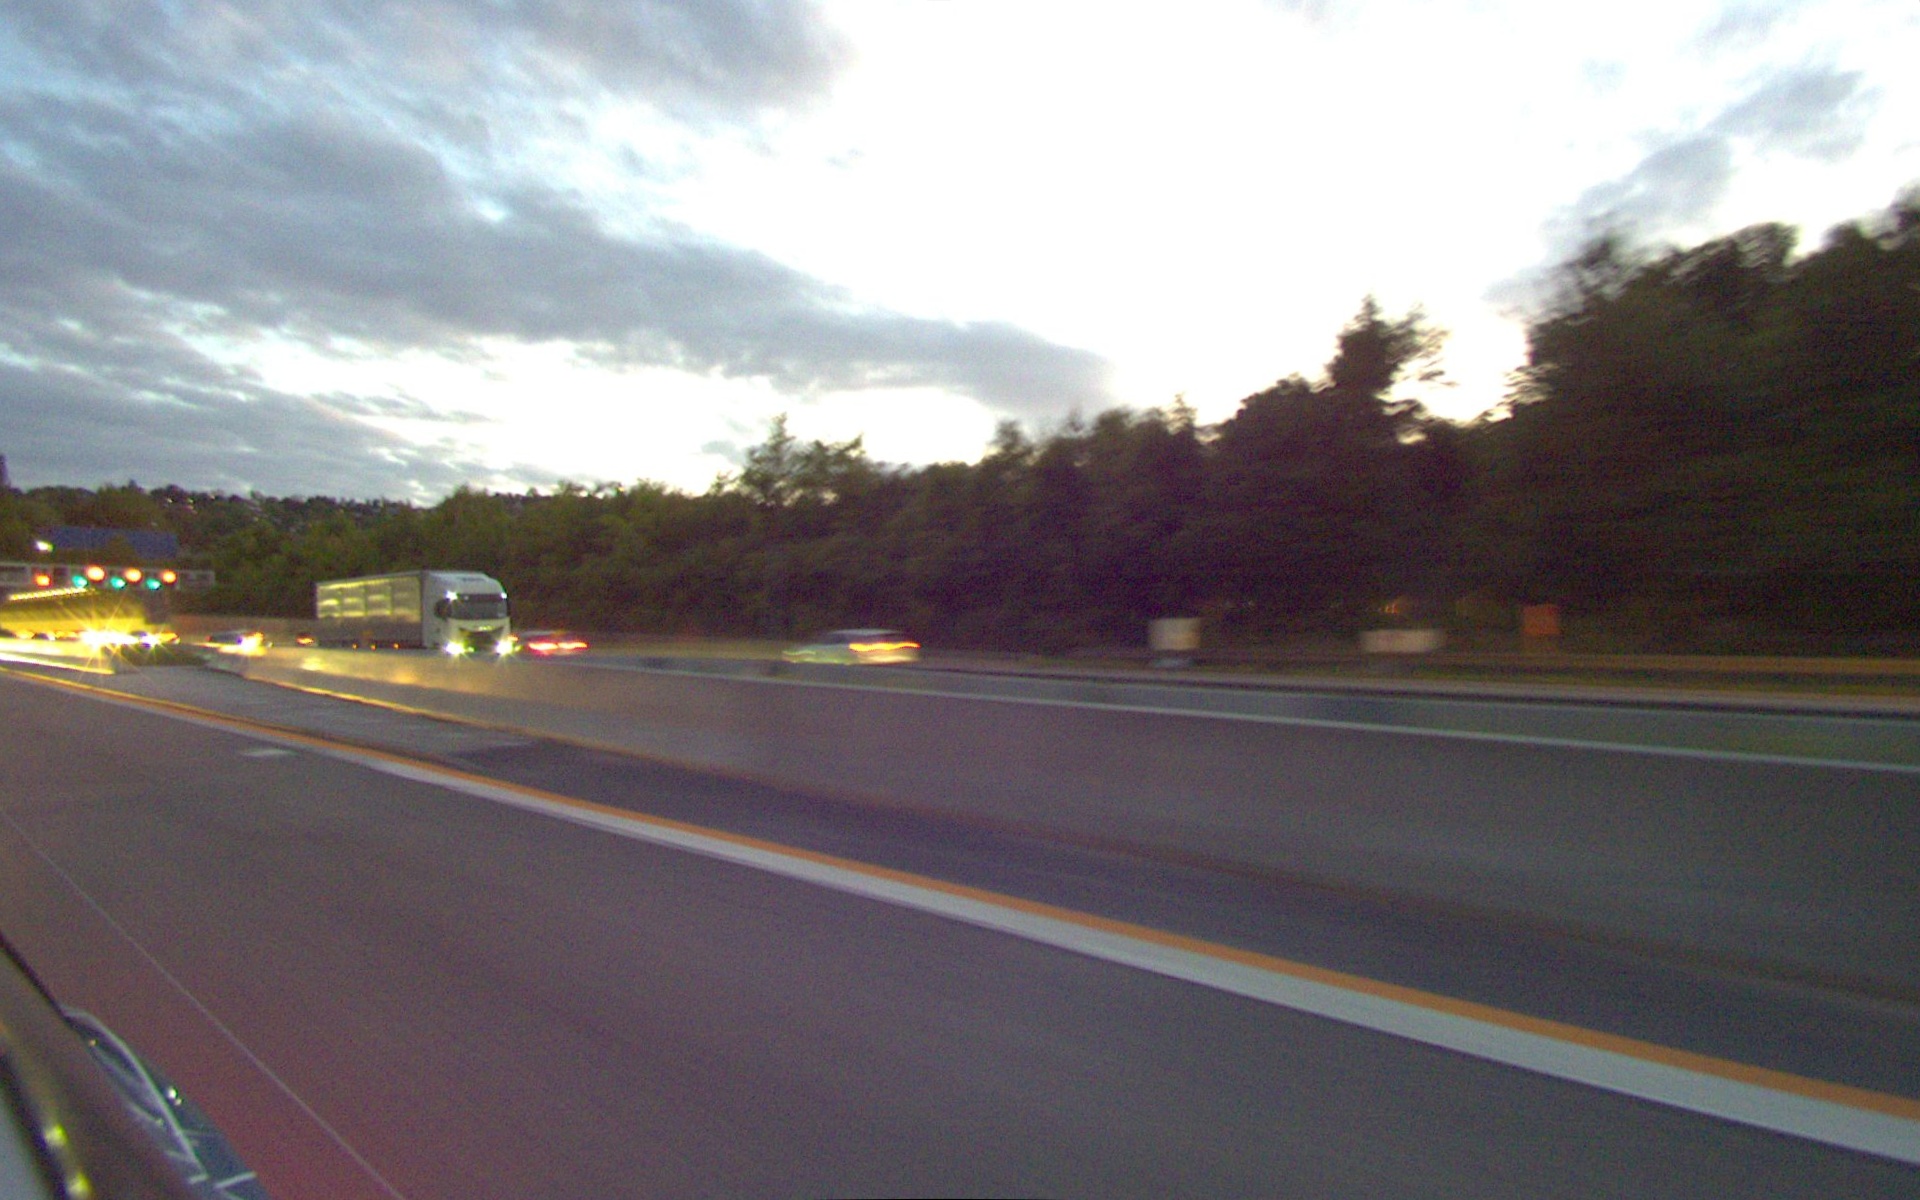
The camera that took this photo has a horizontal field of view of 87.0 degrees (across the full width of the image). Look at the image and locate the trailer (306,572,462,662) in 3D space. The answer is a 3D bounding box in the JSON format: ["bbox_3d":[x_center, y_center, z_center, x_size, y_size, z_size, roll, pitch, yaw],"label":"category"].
[{"bbox_3d":[-27.537,0.785,47.986,11.832,3.811,2.769,-1,0,42],"label":"trailer"}]

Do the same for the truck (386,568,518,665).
[{"bbox_3d":[-21.424,0.670,42.540,6.299,3.803,2.773,-1,0,41],"label":"truck"}]

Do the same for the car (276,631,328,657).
[{"bbox_3d":[-45.488,3.018,69.917,4.750,1.650,1.785,-1,0,42],"label":"car"}]

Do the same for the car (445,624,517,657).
[{"bbox_3d":[-26.451,2.201,55.769,5.169,1.650,1.718,-1,0,42],"label":"car"}]

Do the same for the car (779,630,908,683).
[{"bbox_3d":[-4.116,1.903,35.068,5.034,1.616,1.574,-1,0,44],"label":"car"}]

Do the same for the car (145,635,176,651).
[{"bbox_3d":[-85.305,4.589,107.895,4.700,1.496,1.791,-1,0,42],"label":"car"}]

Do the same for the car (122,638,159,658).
[{"bbox_3d":[-68.819,4.019,84.935,3.998,1.492,1.768,-1,0,41],"label":"car"}]

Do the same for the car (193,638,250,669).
[{"bbox_3d":[-49.337,3.540,67.549,4.698,1.898,2.069,-1,0,41],"label":"car"}]

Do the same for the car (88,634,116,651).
[{"bbox_3d":[-79.641,3.934,93.931,3.823,1.492,1.490,-1,0,41],"label":"car"}]

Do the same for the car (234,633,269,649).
[{"bbox_3d":[-69.823,4.034,99.696,4.700,1.496,1.806,-1,0,42],"label":"car"}]

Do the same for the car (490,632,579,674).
[{"bbox_3d":[-18.905,2.309,44.883,4.890,1.650,1.718,-1,0,42],"label":"car"}]

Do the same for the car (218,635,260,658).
[{"bbox_3d":[-56.427,3.592,79.216,4.750,1.650,1.661,-1,0,42],"label":"car"}]
